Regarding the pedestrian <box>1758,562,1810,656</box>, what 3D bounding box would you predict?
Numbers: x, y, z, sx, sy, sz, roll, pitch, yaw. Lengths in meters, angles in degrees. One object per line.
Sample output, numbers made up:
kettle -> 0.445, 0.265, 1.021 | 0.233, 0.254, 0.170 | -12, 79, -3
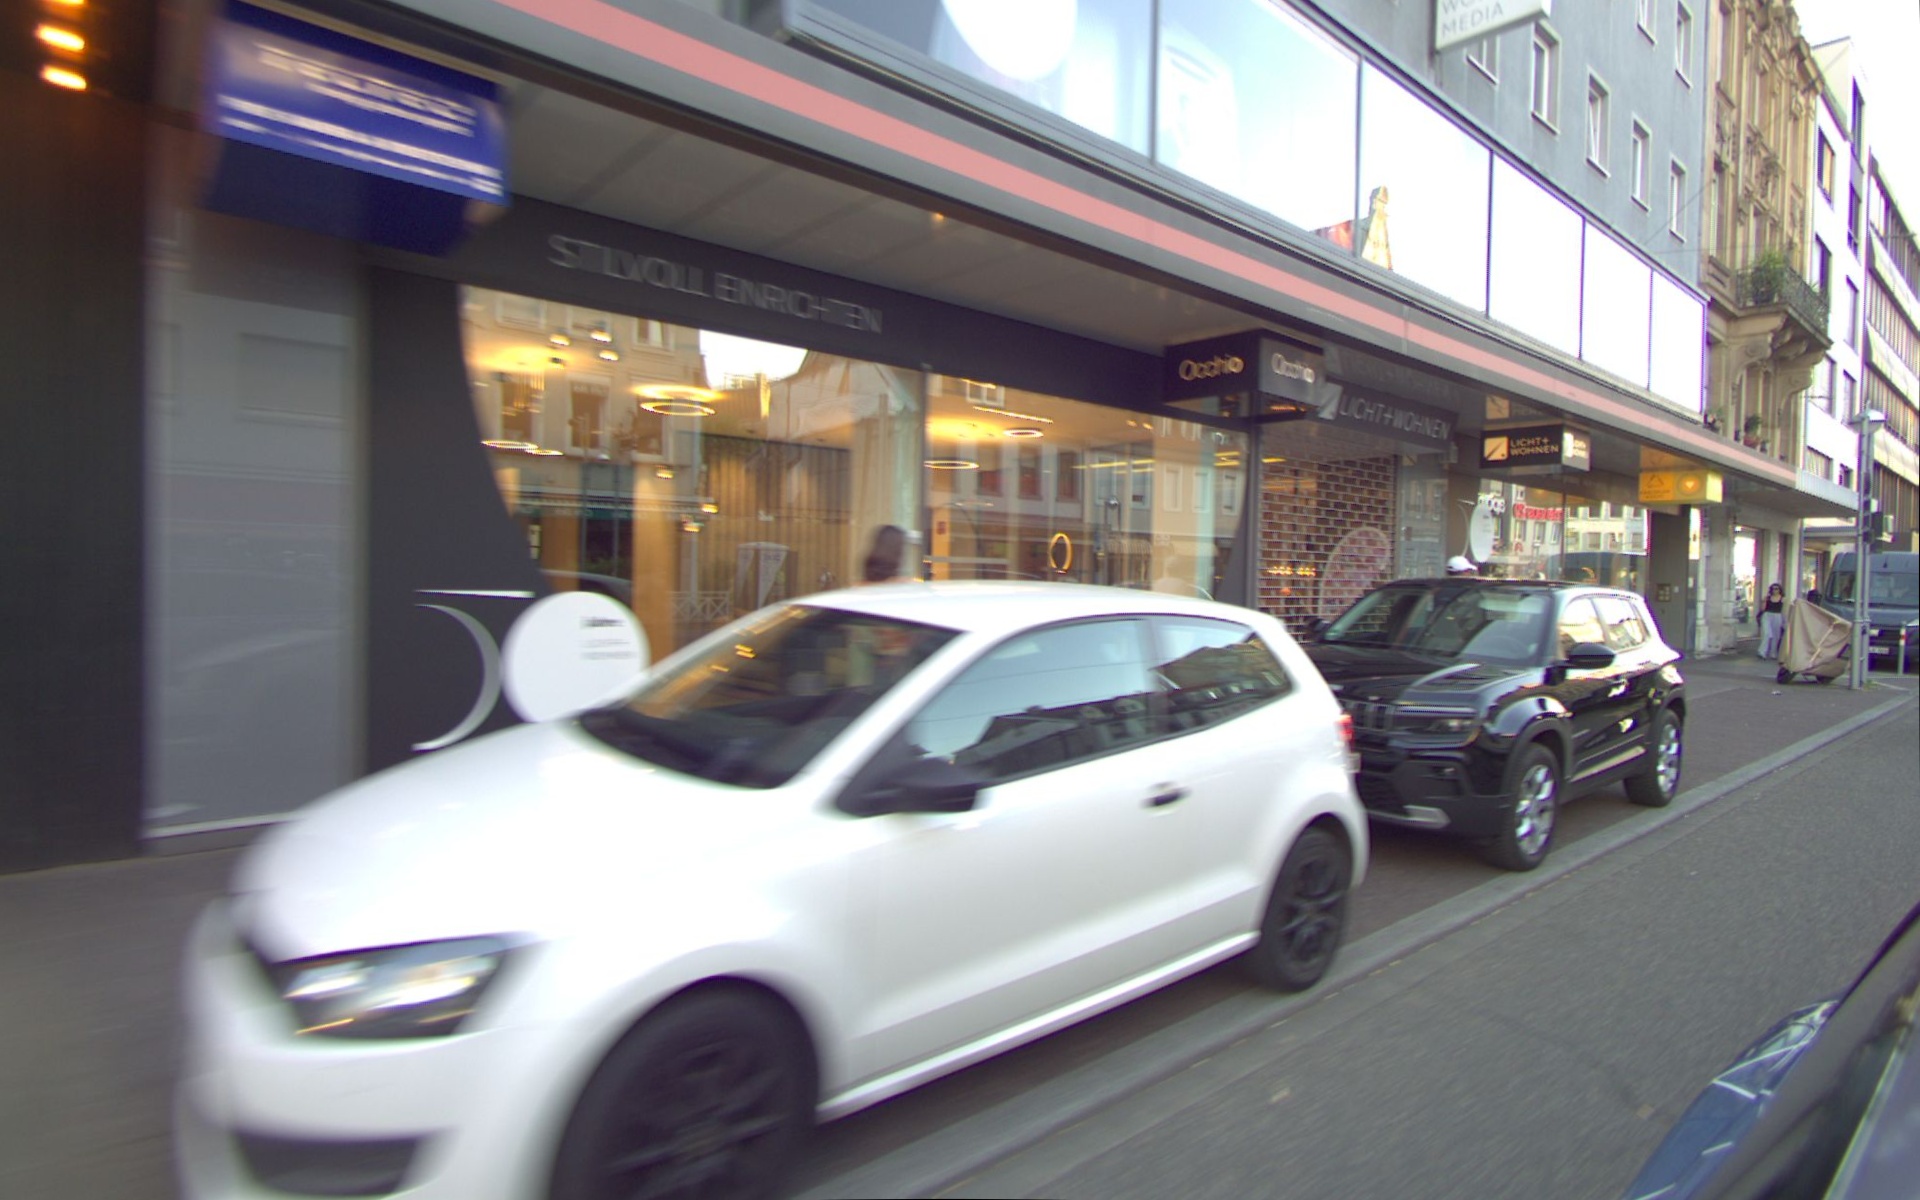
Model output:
pedestrian -> 18.431, 0.189, 22.636 | 0.810, 2.038, 0.711 | 0, 2, -41

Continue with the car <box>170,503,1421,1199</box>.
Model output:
car -> -0.210, 0.580, 3.405 | 3.817, 1.561, 1.682 | 0, 3, -40

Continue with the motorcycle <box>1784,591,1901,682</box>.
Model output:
motorcycle -> 14.112, 0.576, 16.193 | 1.478, 1.394, 0.576 | 1, 1, -11

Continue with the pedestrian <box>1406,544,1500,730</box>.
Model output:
pedestrian -> 4.894, 0.339, 10.055 | 0.594, 1.775, 0.610 | 0, 2, -41

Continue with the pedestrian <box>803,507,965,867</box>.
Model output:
pedestrian -> -0.411, 0.417, 5.402 | 0.594, 1.775, 0.610 | 0, 2, -41

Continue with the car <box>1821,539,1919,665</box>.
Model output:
car -> 20.180, 0.010, 21.566 | 5.489, 2.414, 2.044 | 0, 2, -42

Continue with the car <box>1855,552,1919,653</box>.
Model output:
car -> 24.980, 0.039, 26.235 | 5.468, 2.434, 1.997 | 0, 2, -42

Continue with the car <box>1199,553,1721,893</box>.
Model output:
car -> 3.472, 0.541, 6.686 | 3.964, 1.594, 1.673 | 0, 2, -41
